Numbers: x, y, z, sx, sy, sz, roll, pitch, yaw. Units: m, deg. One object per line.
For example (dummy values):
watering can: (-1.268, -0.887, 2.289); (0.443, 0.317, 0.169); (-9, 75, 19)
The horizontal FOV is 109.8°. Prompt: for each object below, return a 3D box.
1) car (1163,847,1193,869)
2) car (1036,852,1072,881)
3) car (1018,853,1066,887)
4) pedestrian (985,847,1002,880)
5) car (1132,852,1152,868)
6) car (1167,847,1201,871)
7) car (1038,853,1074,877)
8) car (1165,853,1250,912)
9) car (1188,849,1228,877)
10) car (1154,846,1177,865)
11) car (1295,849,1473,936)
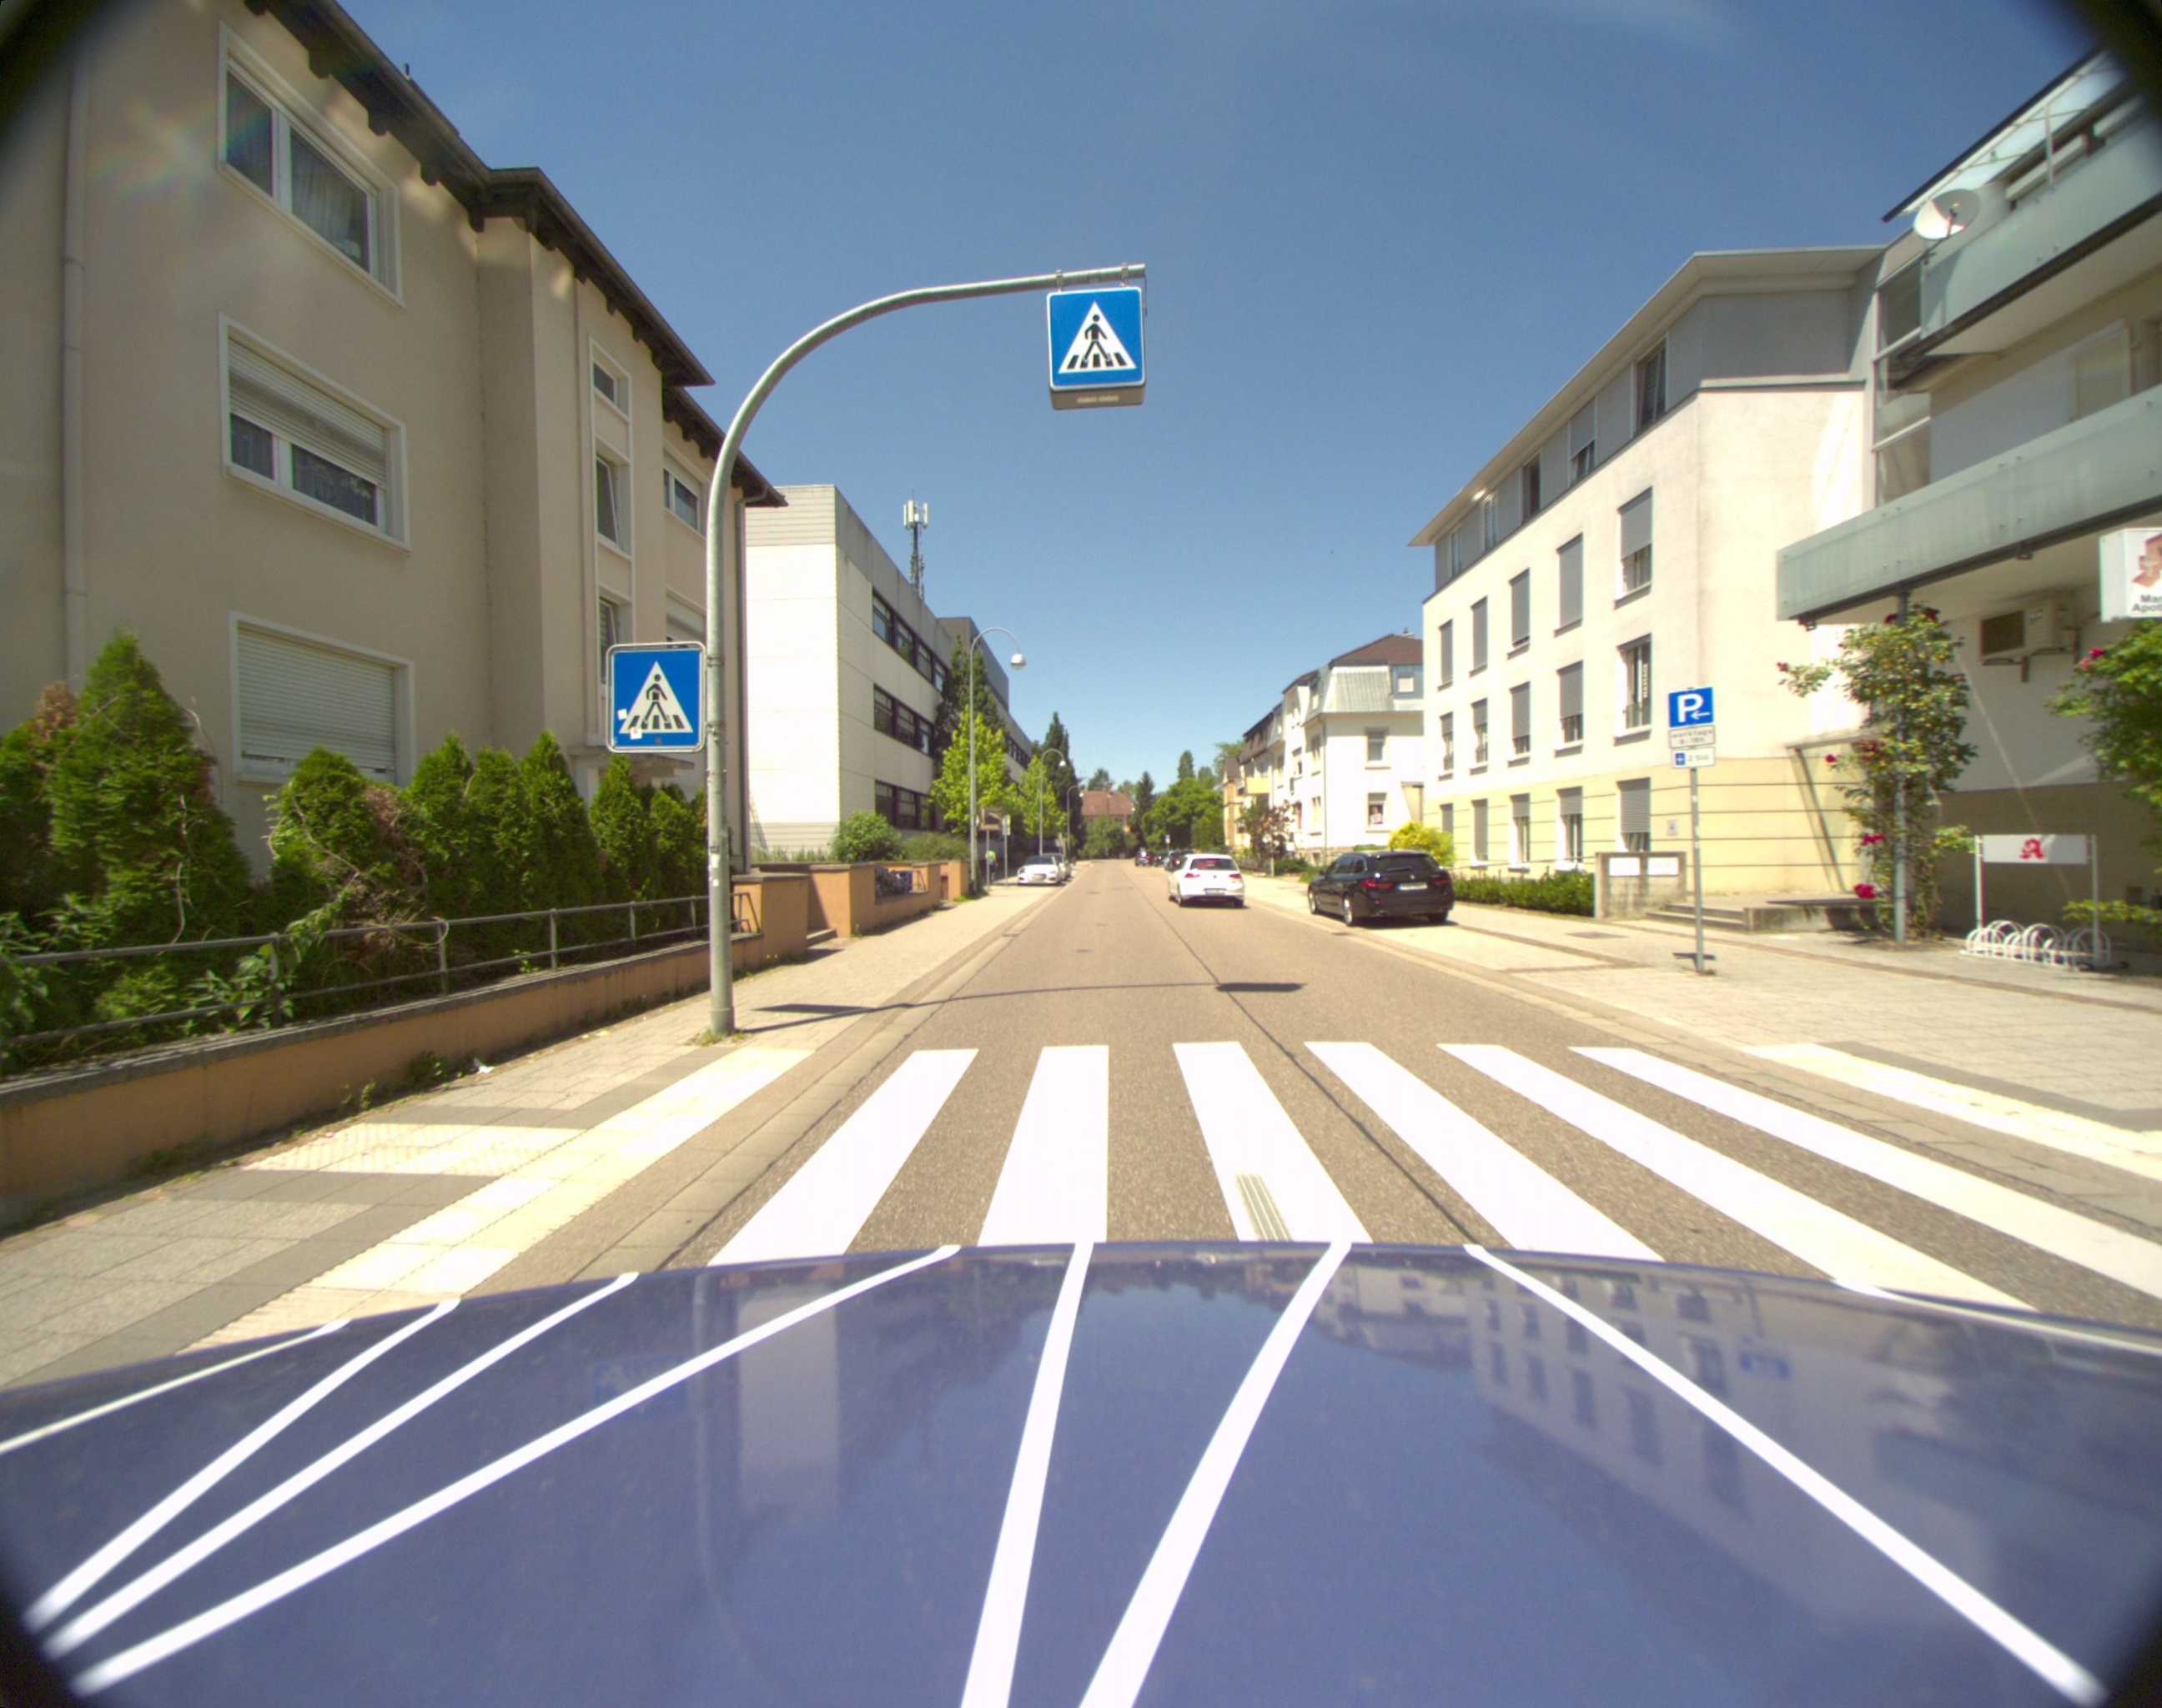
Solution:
car: (7.709, 0.272, 60.680); (1.925, 1.577, 4.287); (-4, 0, 3)
car: (-1.448, 0.639, 41.908); (1.714, 1.490, 3.877); (0, 1, 2)
car: (-1.816, 0.716, 36.710); (1.920, 1.460, 4.880); (0, 1, 2)
pedestrian: (-4.490, 0.474, 39.075); (0.680, 1.690, 1.050); (1, 1, 2)
car: (6.526, 0.602, 81.335); (1.925, 1.668, 4.287); (0, 1, 2)
car: (7.432, 0.340, 55.169); (1.925, 1.577, 4.436); (-4, 0, 3)
car: (-1.475, 0.653, 46.953); (1.841, 1.357, 4.001); (0, 1, 4)
car: (3.514, 0.736, 21.762); (1.812, 1.474, 3.869); (1, 1, 0)
car: (7.276, 0.495, 43.872); (1.736, 1.444, 4.260); (-4, 0, 3)
car: (8.344, 0.149, 75.058); (1.924, 1.681, 4.288); (-4, 0, 4)
car: (6.215, 0.685, 16.363); (1.921, 1.444, 5.149); (-4, 0, 3)
